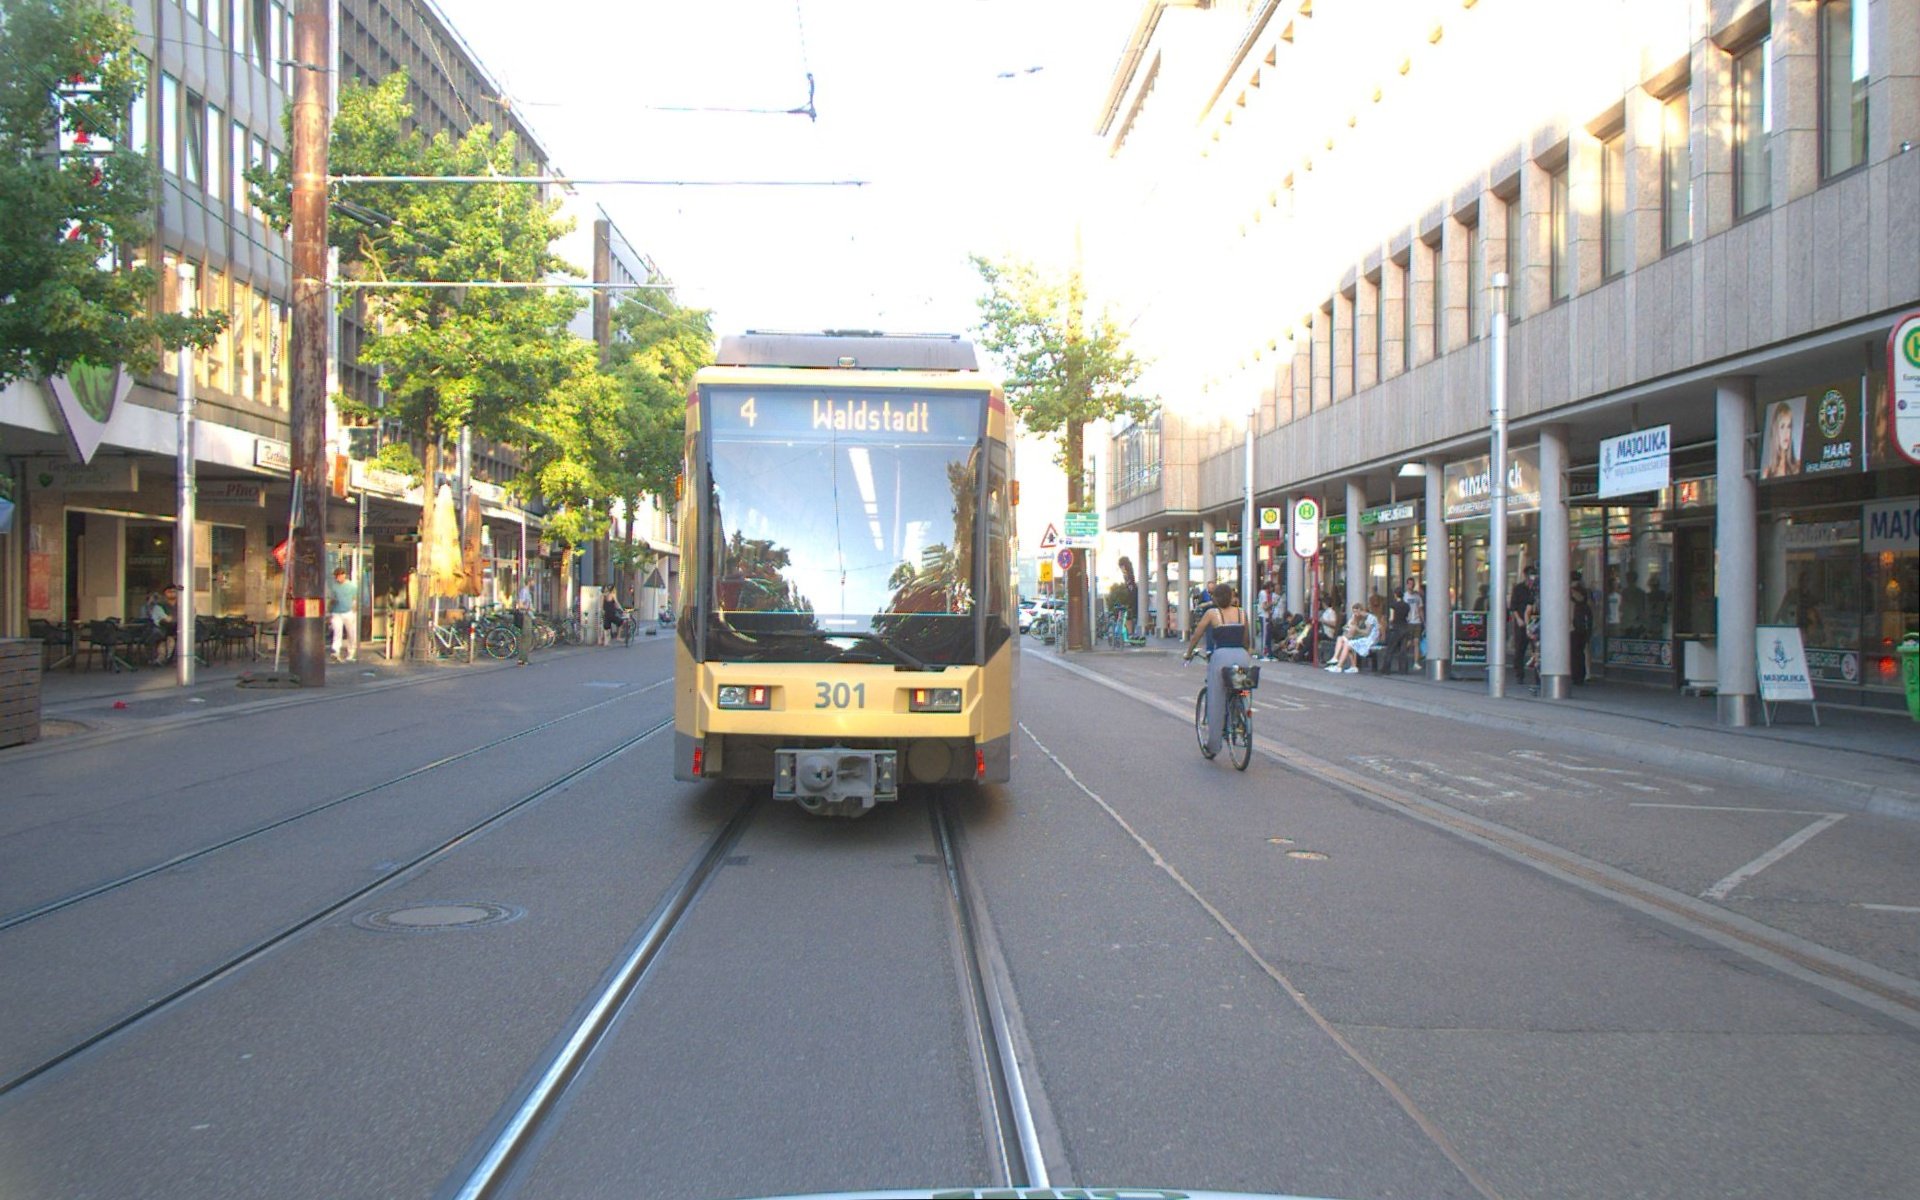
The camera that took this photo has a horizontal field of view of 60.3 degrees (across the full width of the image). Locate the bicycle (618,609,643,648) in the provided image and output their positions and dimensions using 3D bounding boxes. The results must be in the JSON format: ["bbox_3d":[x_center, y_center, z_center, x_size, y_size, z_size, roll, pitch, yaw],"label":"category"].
[{"bbox_3d":[-9.364,0.793,47.031,0.478,1.063,1.776,1,1,-5],"label":"bicycle"}]

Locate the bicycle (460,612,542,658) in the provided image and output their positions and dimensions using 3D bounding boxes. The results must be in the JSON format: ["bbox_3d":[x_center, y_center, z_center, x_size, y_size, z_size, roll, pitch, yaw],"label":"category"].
[{"bbox_3d":[-10.657,0.811,38.427,1.738,1.007,0.489,2,1,-8],"label":"bicycle"}]

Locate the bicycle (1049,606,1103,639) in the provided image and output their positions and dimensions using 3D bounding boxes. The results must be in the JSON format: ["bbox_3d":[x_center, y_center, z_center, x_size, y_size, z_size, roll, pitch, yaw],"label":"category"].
[{"bbox_3d":[4.162,0.806,59.463,1.816,1.128,0.666,-1,0,-5],"label":"bicycle"}]

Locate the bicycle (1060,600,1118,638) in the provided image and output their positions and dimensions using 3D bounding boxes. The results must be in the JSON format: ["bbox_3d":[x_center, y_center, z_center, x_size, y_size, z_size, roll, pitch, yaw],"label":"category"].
[{"bbox_3d":[4.497,0.663,57.795,1.878,1.244,0.762,-2,0,-7],"label":"bicycle"}]

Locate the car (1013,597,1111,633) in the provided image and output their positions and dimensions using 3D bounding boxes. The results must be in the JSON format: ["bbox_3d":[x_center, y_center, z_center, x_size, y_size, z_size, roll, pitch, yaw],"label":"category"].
[{"bbox_3d":[4.308,0.644,69.824,3.850,1.434,1.756,1,-1,-32],"label":"car"}]

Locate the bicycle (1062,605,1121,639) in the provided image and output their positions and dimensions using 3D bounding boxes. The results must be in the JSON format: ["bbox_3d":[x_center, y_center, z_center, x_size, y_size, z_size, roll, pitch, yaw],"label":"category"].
[{"bbox_3d":[4.521,0.761,57.049,1.878,1.096,0.762,-2,0,-7],"label":"bicycle"}]

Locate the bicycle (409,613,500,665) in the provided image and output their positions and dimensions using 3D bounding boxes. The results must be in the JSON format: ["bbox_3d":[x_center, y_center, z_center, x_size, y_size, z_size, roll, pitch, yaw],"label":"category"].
[{"bbox_3d":[-10.355,0.799,33.887,1.734,0.983,0.490,2,-1,15],"label":"bicycle"}]

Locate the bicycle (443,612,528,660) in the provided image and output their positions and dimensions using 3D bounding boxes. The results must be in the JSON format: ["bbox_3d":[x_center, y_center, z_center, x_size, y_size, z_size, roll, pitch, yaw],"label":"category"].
[{"bbox_3d":[-10.614,0.805,37.016,1.738,1.007,0.489,2,1,-8],"label":"bicycle"}]

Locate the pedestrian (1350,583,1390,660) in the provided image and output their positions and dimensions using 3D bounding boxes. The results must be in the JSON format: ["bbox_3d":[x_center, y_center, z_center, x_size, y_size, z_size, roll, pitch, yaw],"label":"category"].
[{"bbox_3d":[9.170,0.482,36.992,0.673,1.690,0.722,-1,-1,-1],"label":"pedestrian"}]

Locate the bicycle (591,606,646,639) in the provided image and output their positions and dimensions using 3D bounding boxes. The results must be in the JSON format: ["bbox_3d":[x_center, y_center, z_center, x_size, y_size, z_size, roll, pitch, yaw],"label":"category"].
[{"bbox_3d":[-11.551,0.767,55.947,1.736,1.063,0.489,2,0,-2],"label":"bicycle"}]

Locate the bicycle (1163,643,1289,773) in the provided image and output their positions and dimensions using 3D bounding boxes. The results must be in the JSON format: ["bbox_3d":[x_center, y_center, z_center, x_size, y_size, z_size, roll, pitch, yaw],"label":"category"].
[{"bbox_3d":[2.522,0.999,15.949,0.798,1.092,2.113,2,0,-1],"label":"bicycle"}]

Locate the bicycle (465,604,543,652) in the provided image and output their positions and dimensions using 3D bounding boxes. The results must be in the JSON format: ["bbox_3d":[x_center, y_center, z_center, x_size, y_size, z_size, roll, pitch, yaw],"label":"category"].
[{"bbox_3d":[-11.053,0.677,40.140,1.738,1.090,0.488,2,0,-8],"label":"bicycle"}]

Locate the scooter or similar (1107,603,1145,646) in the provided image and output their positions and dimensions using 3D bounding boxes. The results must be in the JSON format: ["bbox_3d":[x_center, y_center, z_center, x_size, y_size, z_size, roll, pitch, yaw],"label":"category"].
[{"bbox_3d":[5.070,0.733,50.514,1.176,1.273,0.389,-1,1,-32],"label":"scooter or similar"}]

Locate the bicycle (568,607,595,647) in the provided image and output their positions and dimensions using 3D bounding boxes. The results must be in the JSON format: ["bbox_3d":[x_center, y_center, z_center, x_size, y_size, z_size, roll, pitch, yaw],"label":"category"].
[{"bbox_3d":[-10.699,0.752,46.787,0.478,1.063,1.776,1,1,-5],"label":"bicycle"}]

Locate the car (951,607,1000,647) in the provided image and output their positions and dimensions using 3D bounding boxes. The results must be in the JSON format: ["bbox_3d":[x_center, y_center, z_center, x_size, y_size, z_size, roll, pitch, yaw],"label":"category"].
[{"bbox_3d":[0.549,1.025,62.038,1.733,1.434,4.051,1,-1,-1],"label":"car"}]

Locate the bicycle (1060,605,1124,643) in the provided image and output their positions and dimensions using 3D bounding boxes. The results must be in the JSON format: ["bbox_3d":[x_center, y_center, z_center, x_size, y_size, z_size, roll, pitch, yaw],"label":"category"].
[{"bbox_3d":[4.312,0.777,54.171,1.958,1.175,0.724,-2,0,-7],"label":"bicycle"}]

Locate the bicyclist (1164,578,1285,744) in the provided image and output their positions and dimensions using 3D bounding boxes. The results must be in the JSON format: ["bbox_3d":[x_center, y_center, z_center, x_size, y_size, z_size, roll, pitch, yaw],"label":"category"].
[{"bbox_3d":[2.533,0.569,15.935,0.977,1.528,0.857,2,0,-2],"label":"bicyclist"}]

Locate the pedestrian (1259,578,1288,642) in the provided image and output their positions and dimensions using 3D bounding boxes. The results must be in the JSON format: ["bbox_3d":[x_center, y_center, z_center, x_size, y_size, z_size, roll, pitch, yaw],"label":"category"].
[{"bbox_3d":[8.384,0.256,44.252,0.635,1.690,0.650,-1,0,-2],"label":"pedestrian"}]

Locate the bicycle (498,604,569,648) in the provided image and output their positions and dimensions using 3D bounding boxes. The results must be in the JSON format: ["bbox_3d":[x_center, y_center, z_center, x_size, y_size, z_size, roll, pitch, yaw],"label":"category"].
[{"bbox_3d":[-11.272,0.692,43.716,1.738,1.090,0.488,2,0,-8],"label":"bicycle"}]

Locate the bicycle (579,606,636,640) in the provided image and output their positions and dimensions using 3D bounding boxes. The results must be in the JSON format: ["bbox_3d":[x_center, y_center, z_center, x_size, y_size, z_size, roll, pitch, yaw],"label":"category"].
[{"bbox_3d":[-11.523,0.758,54.063,1.736,1.063,0.489,2,0,-2],"label":"bicycle"}]

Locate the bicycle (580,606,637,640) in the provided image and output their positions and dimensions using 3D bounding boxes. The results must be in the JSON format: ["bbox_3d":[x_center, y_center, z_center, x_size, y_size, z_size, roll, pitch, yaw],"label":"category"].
[{"bbox_3d":[-11.528,0.759,54.306,1.736,1.063,0.489,2,0,-2],"label":"bicycle"}]

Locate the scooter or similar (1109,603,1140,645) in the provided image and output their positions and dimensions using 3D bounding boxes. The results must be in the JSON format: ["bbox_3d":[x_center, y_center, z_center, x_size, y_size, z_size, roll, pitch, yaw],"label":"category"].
[{"bbox_3d":[5.085,0.732,51.066,0.385,1.273,1.187,-1,1,36],"label":"scooter or similar"}]

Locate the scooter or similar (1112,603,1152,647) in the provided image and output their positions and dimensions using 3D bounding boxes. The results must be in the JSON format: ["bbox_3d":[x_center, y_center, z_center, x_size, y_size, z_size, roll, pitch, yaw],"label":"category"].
[{"bbox_3d":[5.169,0.746,49.717,1.102,1.273,0.491,-1,1,-33],"label":"scooter or similar"}]

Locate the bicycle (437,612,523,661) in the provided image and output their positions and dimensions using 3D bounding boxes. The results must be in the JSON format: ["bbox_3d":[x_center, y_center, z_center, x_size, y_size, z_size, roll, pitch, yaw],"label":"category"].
[{"bbox_3d":[-10.586,0.803,36.489,1.738,1.007,0.489,2,1,-8],"label":"bicycle"}]

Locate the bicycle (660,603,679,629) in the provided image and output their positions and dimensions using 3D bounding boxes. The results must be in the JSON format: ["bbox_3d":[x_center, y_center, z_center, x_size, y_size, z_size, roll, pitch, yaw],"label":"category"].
[{"bbox_3d":[-13.548,0.741,77.086,0.488,1.127,1.801,0,1,3],"label":"bicycle"}]

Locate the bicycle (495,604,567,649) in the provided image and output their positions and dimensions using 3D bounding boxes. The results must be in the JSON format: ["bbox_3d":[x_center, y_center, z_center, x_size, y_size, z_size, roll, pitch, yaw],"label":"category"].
[{"bbox_3d":[-11.199,0.690,43.174,1.738,1.090,0.488,2,0,-8],"label":"bicycle"}]

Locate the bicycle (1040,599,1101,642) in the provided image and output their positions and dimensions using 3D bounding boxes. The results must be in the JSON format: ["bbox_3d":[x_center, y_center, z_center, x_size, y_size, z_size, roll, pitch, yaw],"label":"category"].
[{"bbox_3d":[3.661,0.666,55.022,1.878,1.356,0.724,-2,0,-7],"label":"bicycle"}]

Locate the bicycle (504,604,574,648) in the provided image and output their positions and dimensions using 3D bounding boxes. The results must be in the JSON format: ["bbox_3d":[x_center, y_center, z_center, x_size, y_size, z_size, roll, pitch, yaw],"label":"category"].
[{"bbox_3d":[-11.286,0.695,44.369,1.738,1.090,0.488,2,0,-8],"label":"bicycle"}]

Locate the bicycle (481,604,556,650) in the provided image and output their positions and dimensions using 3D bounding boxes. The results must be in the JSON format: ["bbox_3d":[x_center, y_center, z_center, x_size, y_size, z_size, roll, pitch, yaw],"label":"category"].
[{"bbox_3d":[-11.187,0.684,41.954,1.738,1.090,0.488,2,0,-8],"label":"bicycle"}]

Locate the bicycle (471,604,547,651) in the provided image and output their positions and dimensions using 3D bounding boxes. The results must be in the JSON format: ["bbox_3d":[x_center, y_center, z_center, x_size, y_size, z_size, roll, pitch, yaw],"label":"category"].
[{"bbox_3d":[-11.094,0.679,40.716,1.738,1.090,0.488,2,0,-8],"label":"bicycle"}]

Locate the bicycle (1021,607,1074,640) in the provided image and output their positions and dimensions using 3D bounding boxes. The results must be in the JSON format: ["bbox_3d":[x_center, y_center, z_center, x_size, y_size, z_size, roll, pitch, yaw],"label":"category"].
[{"bbox_3d":[3.120,0.834,59.176,1.816,1.128,0.666,-1,0,-5],"label":"bicycle"}]

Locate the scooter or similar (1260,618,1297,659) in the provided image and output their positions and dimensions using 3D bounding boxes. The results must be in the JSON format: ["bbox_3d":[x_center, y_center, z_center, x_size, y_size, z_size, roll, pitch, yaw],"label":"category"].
[{"bbox_3d":[7.287,0.876,37.833,0.815,0.899,0.687,1,0,12],"label":"scooter or similar"}]
